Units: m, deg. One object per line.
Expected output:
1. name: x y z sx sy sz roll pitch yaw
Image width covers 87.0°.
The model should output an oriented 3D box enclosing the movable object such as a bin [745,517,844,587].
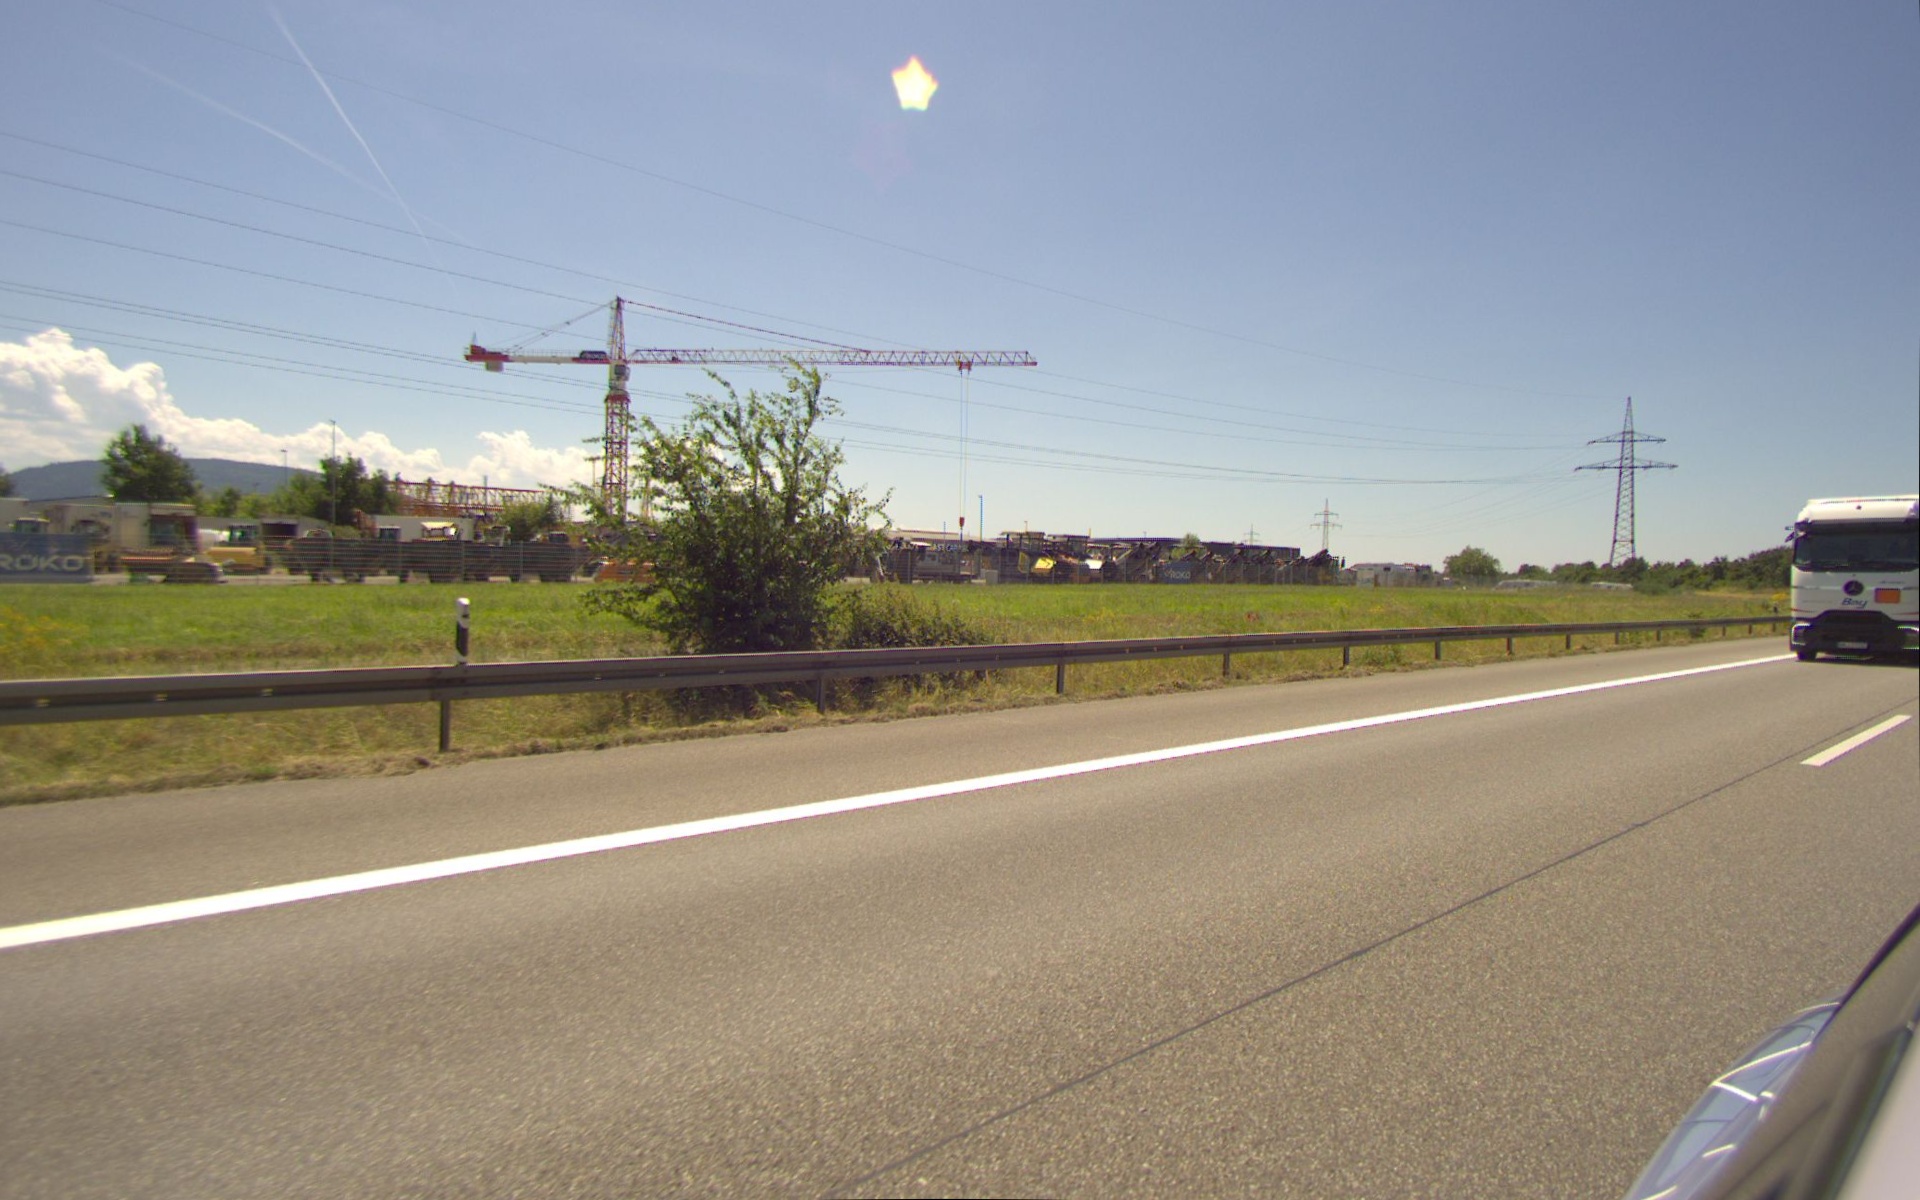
1. movable object such as a bin: -10.803 -2.912 65.177 3.367 4.103 9.398 0 0 -29

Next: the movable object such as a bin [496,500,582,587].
1. movable object such as a bin: -22.096 -2.793 53.639 3.364 4.103 9.406 0 0 -17

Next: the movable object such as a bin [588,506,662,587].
1. movable object such as a bin: -19.098 -2.843 57.227 3.364 4.103 9.405 0 0 -22

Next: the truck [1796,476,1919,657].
1. truck: 22.489 -0.769 24.506 5.623 3.942 2.571 -1 1 -41

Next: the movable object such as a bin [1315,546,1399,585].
1. movable object such as a bin: 42.417 -3.605 108.302 2.829 3.988 8.113 0 0 -38

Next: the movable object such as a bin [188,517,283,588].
1. movable object such as a bin: -43.954 -2.739 61.678 3.225 4.014 8.507 0 0 -26

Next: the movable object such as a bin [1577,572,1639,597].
1. movable object such as a bin: 107.456 -2.530 167.886 2.829 3.988 8.113 0 0 -38

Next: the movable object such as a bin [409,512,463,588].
1. movable object such as a bin: -35.202 -3.242 68.178 2.659 4.803 7.171 0 0 -23

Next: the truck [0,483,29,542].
1. truck: -59.655 -5.403 62.311 8.146 3.453 2.794 4 3 43

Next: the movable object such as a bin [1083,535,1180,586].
1. movable object such as a bin: 14.115 -3.171 83.758 2.829 3.955 8.113 0 0 -38

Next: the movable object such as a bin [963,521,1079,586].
1. movable object such as a bin: 4.452 -3.358 76.520 3.374 4.569 9.378 0 0 -38

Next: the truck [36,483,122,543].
1. truck: -55.540 -5.438 63.708 8.135 3.453 2.797 4 3 39

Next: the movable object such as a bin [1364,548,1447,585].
1. movable object such as a bin: 50.132 -3.701 114.085 2.829 3.988 8.113 0 0 -38

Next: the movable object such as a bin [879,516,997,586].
1. movable object such as a bin: -1.701 -3.279 71.708 3.374 4.569 9.378 0 0 -38

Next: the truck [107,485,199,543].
1. truck: -51.909 -5.470 65.043 8.131 3.453 2.799 4 3 38

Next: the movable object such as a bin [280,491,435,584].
1. movable object such as a bin: -29.488 -2.876 50.185 3.366 4.103 9.401 0 0 -9

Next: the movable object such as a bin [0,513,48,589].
1. movable object such as a bin: -52.916 -2.620 54.217 3.224 4.014 8.857 0 0 -23

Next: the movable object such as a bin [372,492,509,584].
1. movable object such as a bin: -25.720 -2.908 50.755 3.366 4.103 9.401 0 0 -9

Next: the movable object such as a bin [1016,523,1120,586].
1. movable object such as a bin: 8.255 -3.394 78.239 3.290 4.569 8.113 0 0 -38

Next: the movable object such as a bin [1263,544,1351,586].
1. movable object such as a bin: 34.605 -3.445 101.101 2.829 3.955 8.113 0 0 -38

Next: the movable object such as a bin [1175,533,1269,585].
1. movable object such as a bin: 23.422 -3.559 90.936 2.829 4.429 8.113 0 0 -38

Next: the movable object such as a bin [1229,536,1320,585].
1. movable object such as a bin: 29.871 -3.644 96.328 2.829 4.429 8.113 0 0 -38

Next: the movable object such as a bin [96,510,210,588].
1. movable object such as a bin: -45.873 -2.720 57.832 3.225 4.070 8.507 0 0 -26

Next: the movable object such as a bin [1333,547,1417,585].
1. movable object such as a bin: 45.266 -3.641 110.577 2.829 3.988 8.113 0 0 -38

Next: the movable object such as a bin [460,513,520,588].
1. movable object such as a bin: -32.531 -3.277 70.396 3.073 4.803 9.624 0 0 -21

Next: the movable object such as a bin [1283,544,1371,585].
1. movable object such as a bin: 37.351 -3.530 103.270 2.829 3.988 8.113 0 0 -38

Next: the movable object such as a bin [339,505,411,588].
1. movable object such as a bin: -36.908 -3.225 64.114 3.225 4.865 8.507 0 0 -26

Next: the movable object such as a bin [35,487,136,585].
1. movable object such as a bin: -39.538 -2.714 45.972 3.080 4.001 8.113 0 0 -38

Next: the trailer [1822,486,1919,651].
1. trailer: 27.537 -0.840 28.872 13.048 3.942 2.571 -1 1 -41

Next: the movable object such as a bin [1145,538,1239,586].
1. movable object such as a bin: 20.269 -3.252 88.802 2.829 3.955 8.113 0 0 -38

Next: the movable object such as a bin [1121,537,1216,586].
1. movable object such as a bin: 17.728 -3.218 86.683 2.829 3.955 8.113 0 0 -38

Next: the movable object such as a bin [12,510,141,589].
1. movable object such as a bin: -48.952 -2.662 56.402 3.225 4.014 8.507 0 0 -26

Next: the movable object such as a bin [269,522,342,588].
1. movable object such as a bin: -40.424 -2.642 62.751 3.226 3.761 7.903 0 0 -29

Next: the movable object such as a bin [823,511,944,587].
1. movable object such as a bin: -5.210 -3.192 66.931 3.374 4.569 9.378 0 0 -38

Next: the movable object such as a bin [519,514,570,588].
1. movable object such as a bin: -29.323 -3.307 71.695 3.073 4.803 9.624 0 0 -21

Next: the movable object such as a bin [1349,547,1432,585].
1. movable object such as a bin: 47.699 -3.671 112.319 2.829 3.988 8.113 0 0 -38

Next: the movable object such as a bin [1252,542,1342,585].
1. movable object such as a bin: 32.686 -3.459 98.447 2.829 3.988 8.113 0 0 -38

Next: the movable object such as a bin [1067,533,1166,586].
1. movable object such as a bin: 12.378 -3.133 80.757 2.829 3.955 8.113 0 0 -38

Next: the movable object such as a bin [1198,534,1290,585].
1. movable object such as a bin: 26.075 -3.595 93.222 2.829 4.429 8.113 0 0 -38

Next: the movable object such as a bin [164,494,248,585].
1. movable object such as a bin: -36.750 -2.760 49.213 3.080 4.001 8.113 0 0 -38
